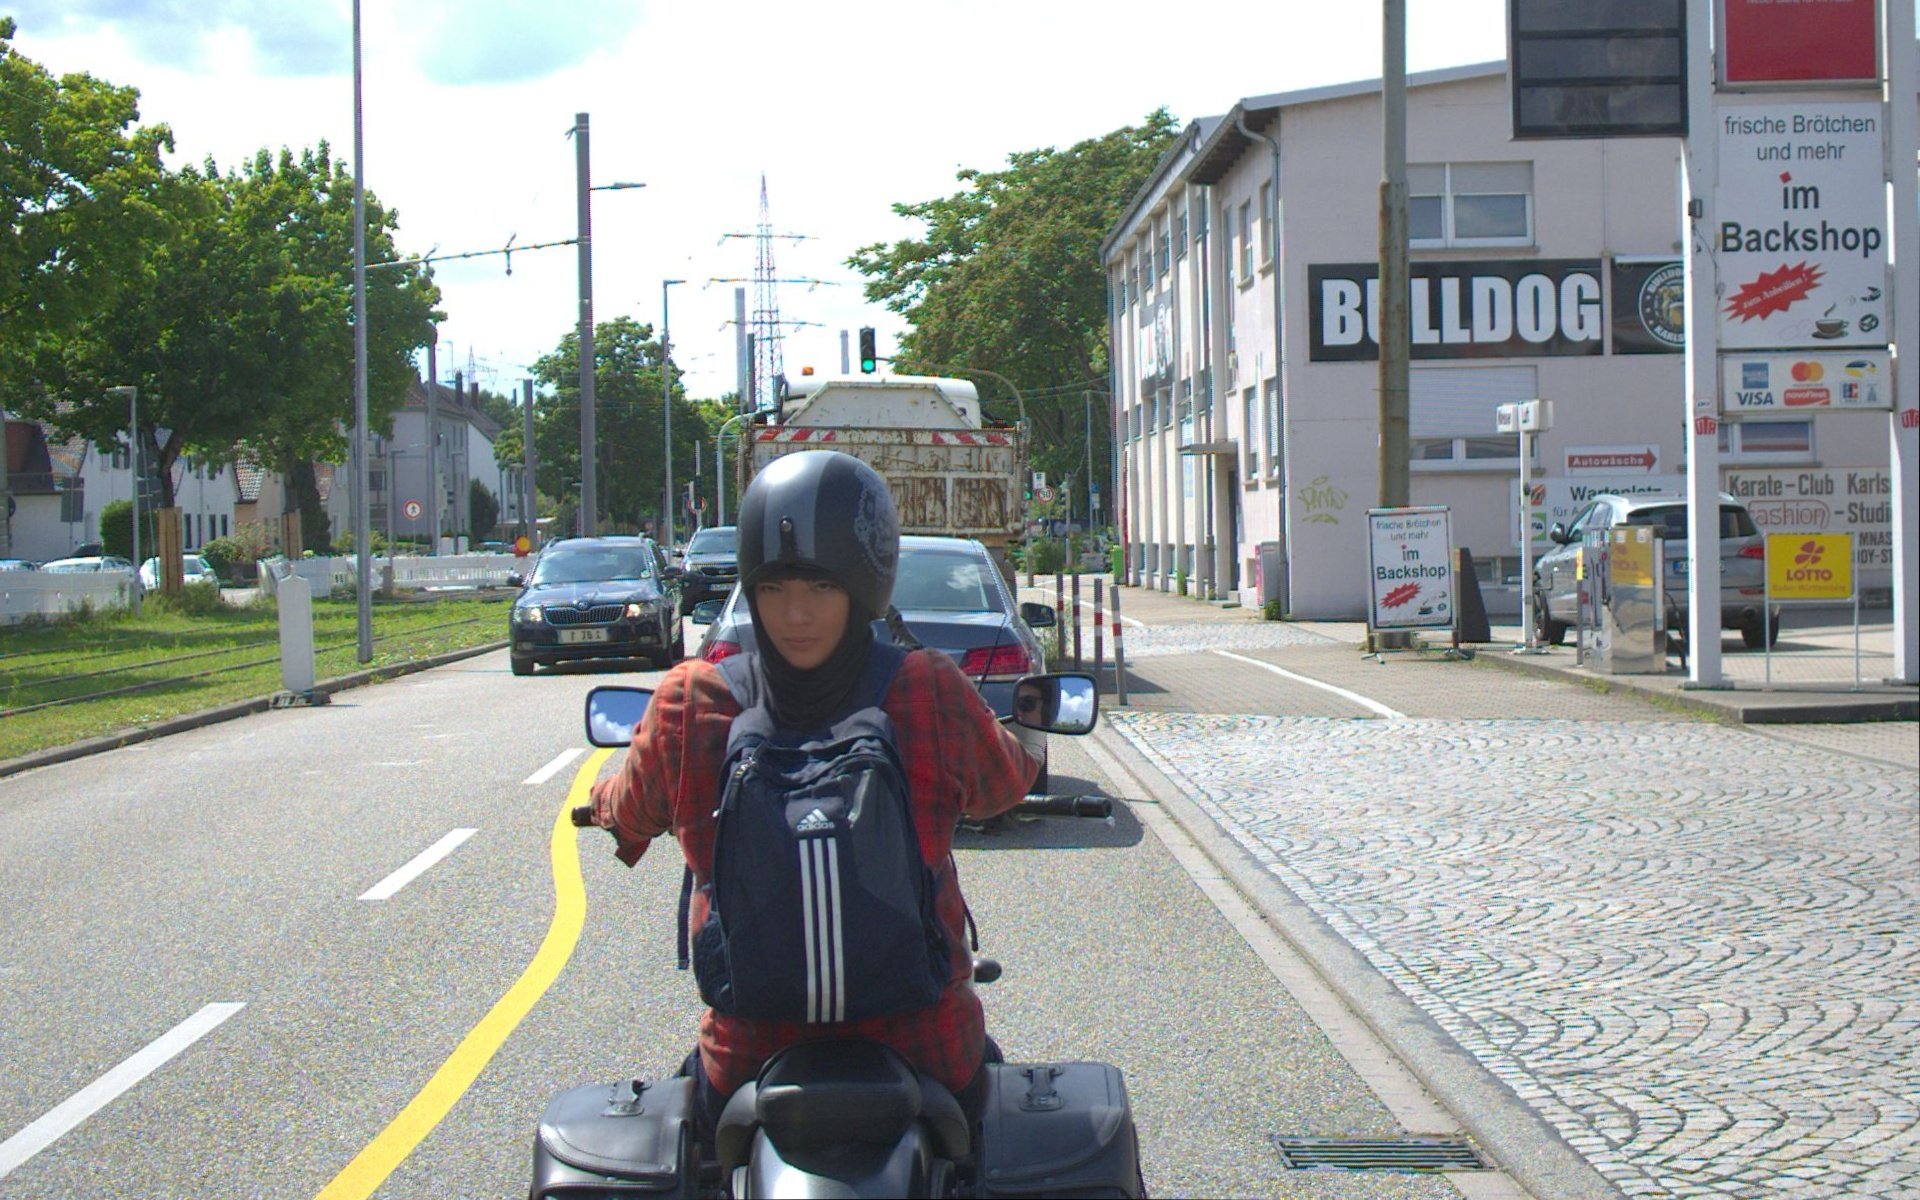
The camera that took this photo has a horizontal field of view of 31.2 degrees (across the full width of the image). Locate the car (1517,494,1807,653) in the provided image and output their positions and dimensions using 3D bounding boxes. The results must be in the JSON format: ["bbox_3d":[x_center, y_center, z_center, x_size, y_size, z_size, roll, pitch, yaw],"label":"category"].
[{"bbox_3d":[7.375,-0.309,36.518,1.667,1.557,4.245,-1,1,-8],"label":"car"}]

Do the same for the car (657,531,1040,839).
[{"bbox_3d":[-0.559,0.371,18.542,1.823,1.447,4.000,1,1,-1],"label":"car"}]

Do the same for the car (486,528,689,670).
[{"bbox_3d":[-4.161,-0.055,39.002,1.823,1.447,4.324,-2,1,-1],"label":"car"}]

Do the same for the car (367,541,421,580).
[{"bbox_3d":[-26.438,-1.860,160.658,1.776,1.717,4.250,-1,1,0],"label":"car"}]

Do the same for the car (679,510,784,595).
[{"bbox_3d":[-4.581,-0.987,69.487,1.823,1.596,4.324,-2,1,-1],"label":"car"}]

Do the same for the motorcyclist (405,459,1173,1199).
[{"bbox_3d":[-0.220,0.613,5.024,0.979,1.597,1.088,-1,1,-1],"label":"motorcyclist"}]

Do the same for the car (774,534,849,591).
[{"bbox_3d":[-3.994,-1.032,93.041,1.823,1.447,4.324,-2,1,-1],"label":"car"}]

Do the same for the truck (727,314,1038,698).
[{"bbox_3d":[-0.720,-0.907,33.953,2.638,3.285,8.057,-1,1,-1],"label":"truck"}]

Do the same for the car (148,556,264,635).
[{"bbox_3d":[-17.500,-0.134,79.958,1.776,1.717,4.128,-1,1,0],"label":"car"}]

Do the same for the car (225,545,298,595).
[{"bbox_3d":[-25.421,-1.105,125.239,1.776,1.717,4.128,-1,1,0],"label":"car"}]

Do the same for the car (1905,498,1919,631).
[{"bbox_3d":[11.730,-0.384,37.087,1.806,1.498,3.834,-1,1,-3],"label":"car"}]

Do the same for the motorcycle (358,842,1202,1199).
[{"bbox_3d":[-0.216,0.955,5.336,0.979,0.894,2.653,-1,1,-1],"label":"motorcycle"}]

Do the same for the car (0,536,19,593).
[{"bbox_3d":[-30.047,-1.065,104.403,1.776,1.717,4.128,-1,1,0],"label":"car"}]
